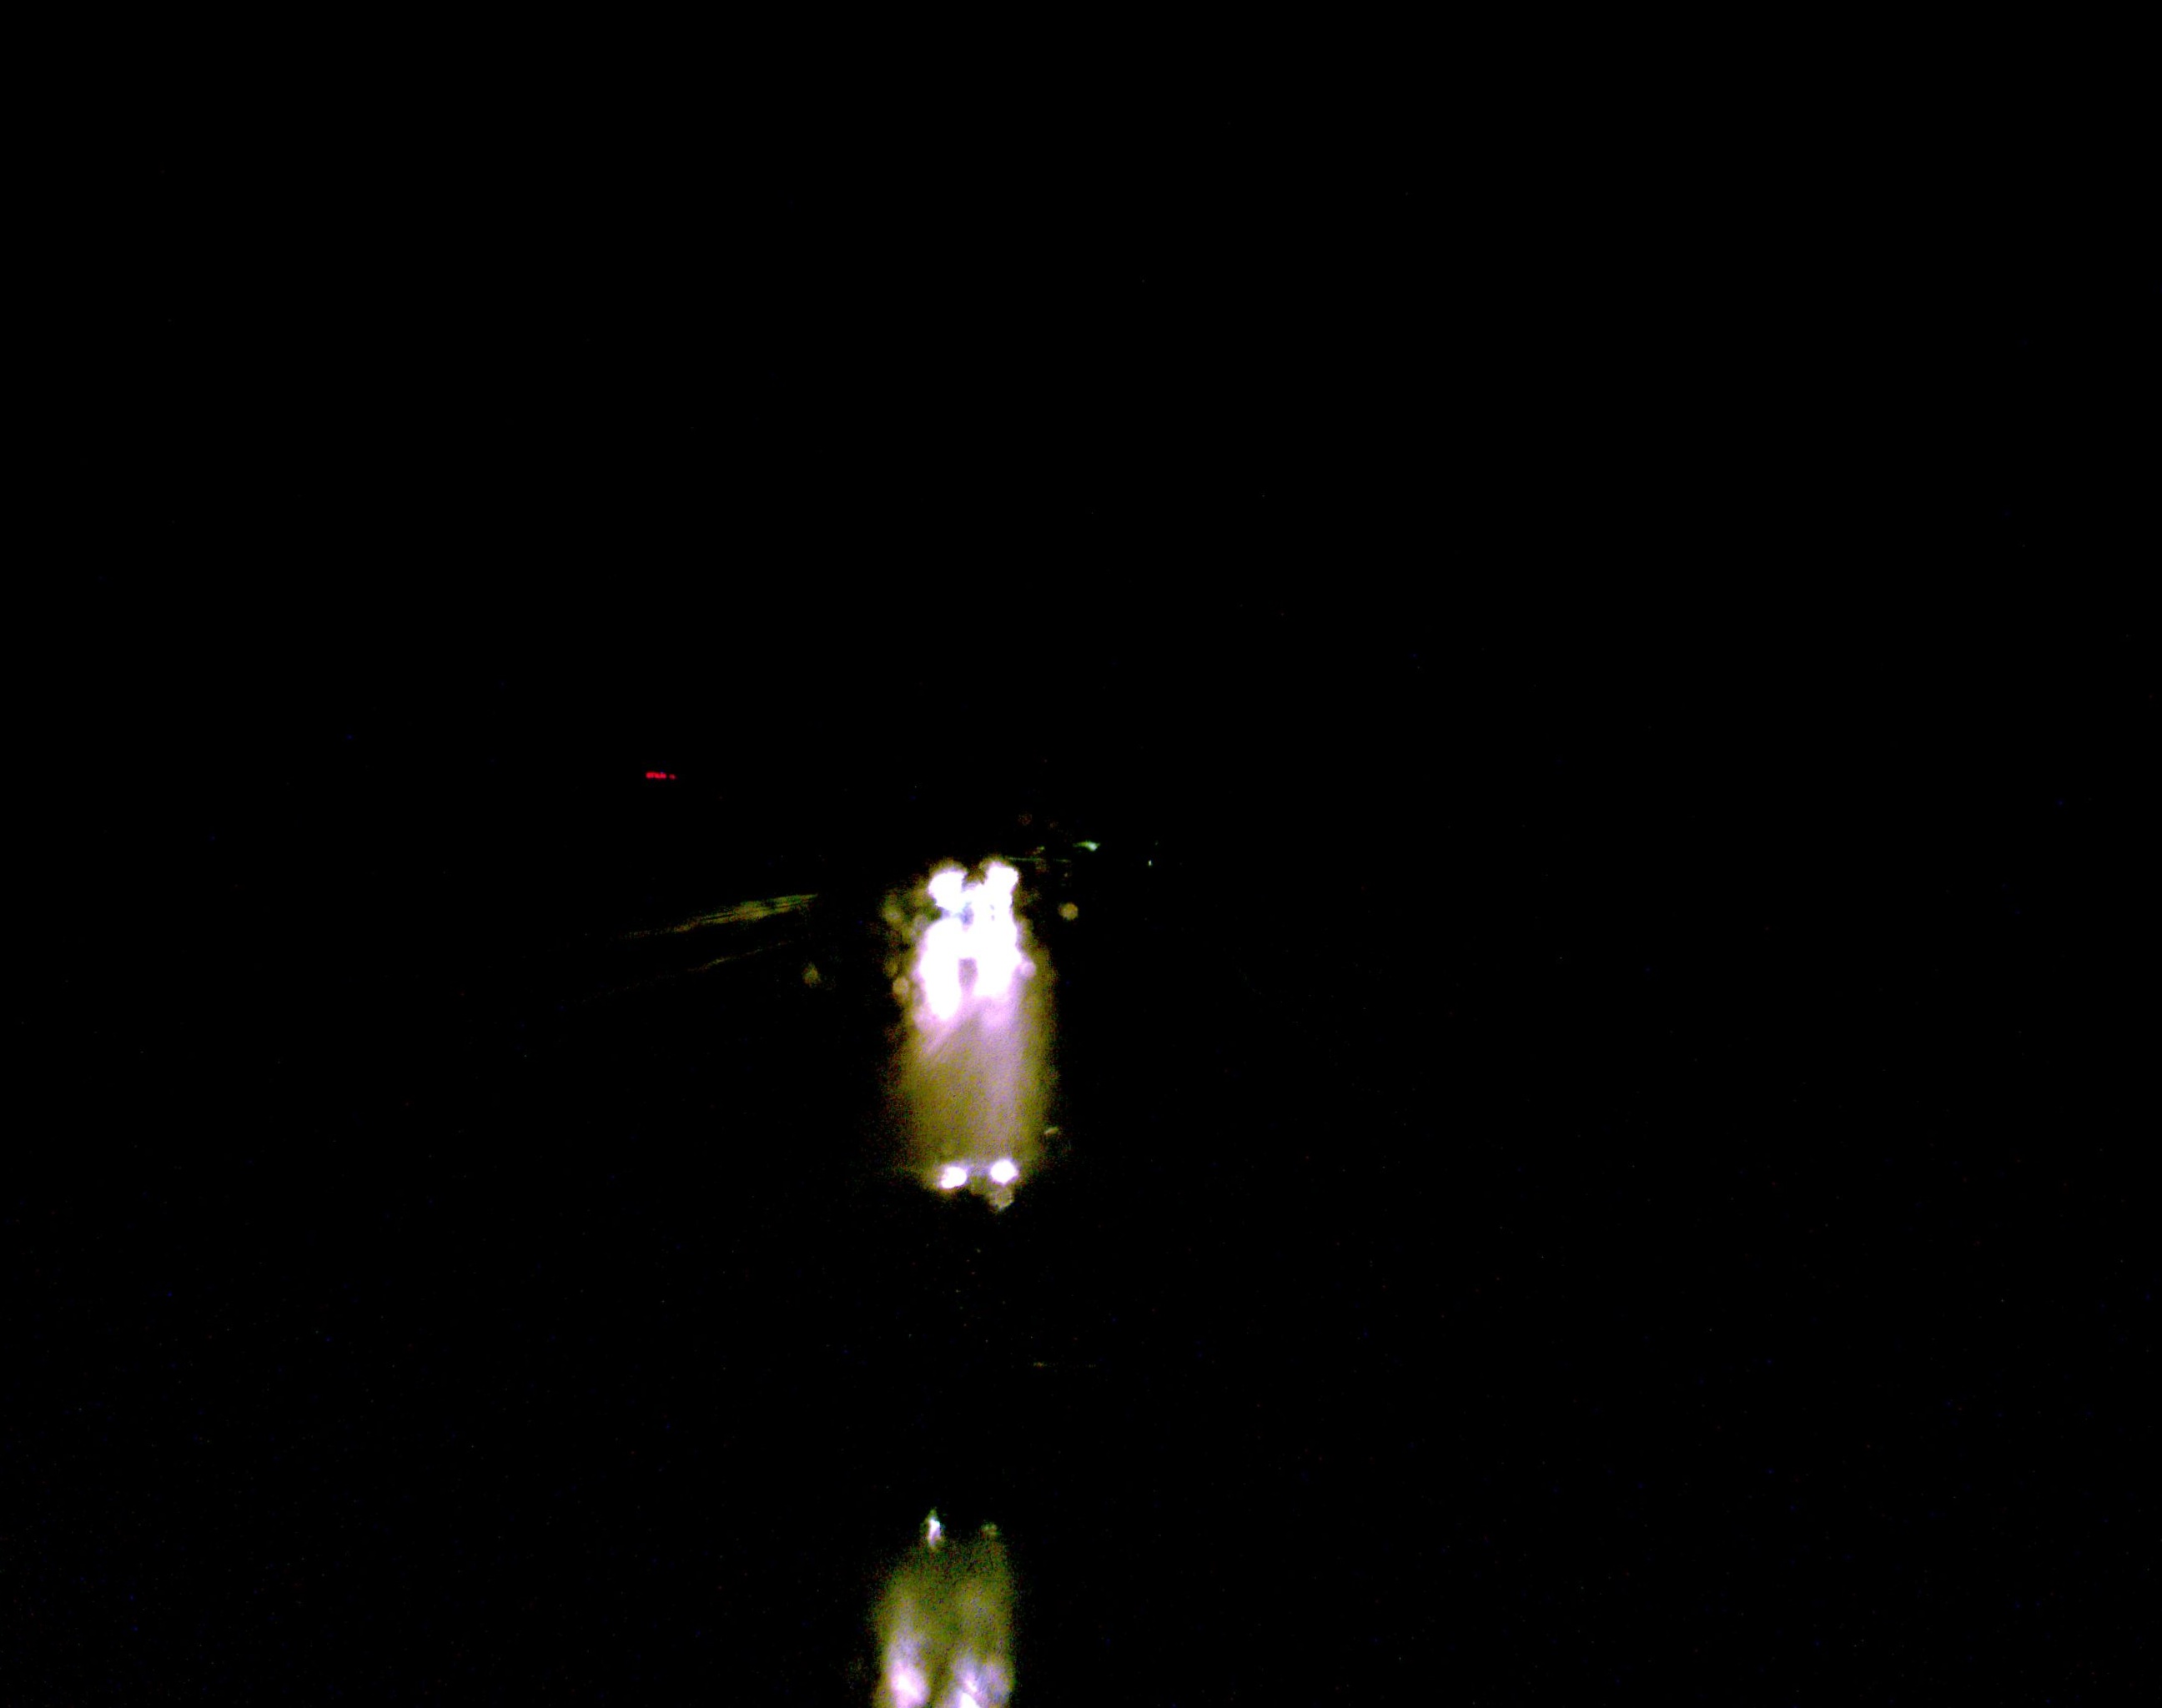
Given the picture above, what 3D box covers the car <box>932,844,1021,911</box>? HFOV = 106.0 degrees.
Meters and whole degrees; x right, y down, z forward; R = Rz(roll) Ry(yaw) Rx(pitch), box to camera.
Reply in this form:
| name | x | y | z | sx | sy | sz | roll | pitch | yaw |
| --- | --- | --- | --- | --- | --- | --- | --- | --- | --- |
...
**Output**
| name | x | y | z | sx | sy | sz | roll | pitch | yaw |
| --- | --- | --- | --- | --- | --- | --- | --- | --- | --- |
| car | -2.796 | 0.591 | 22.674 | 1.914 | 1.645 | 4.025 | -1 | 0 | 0 |
